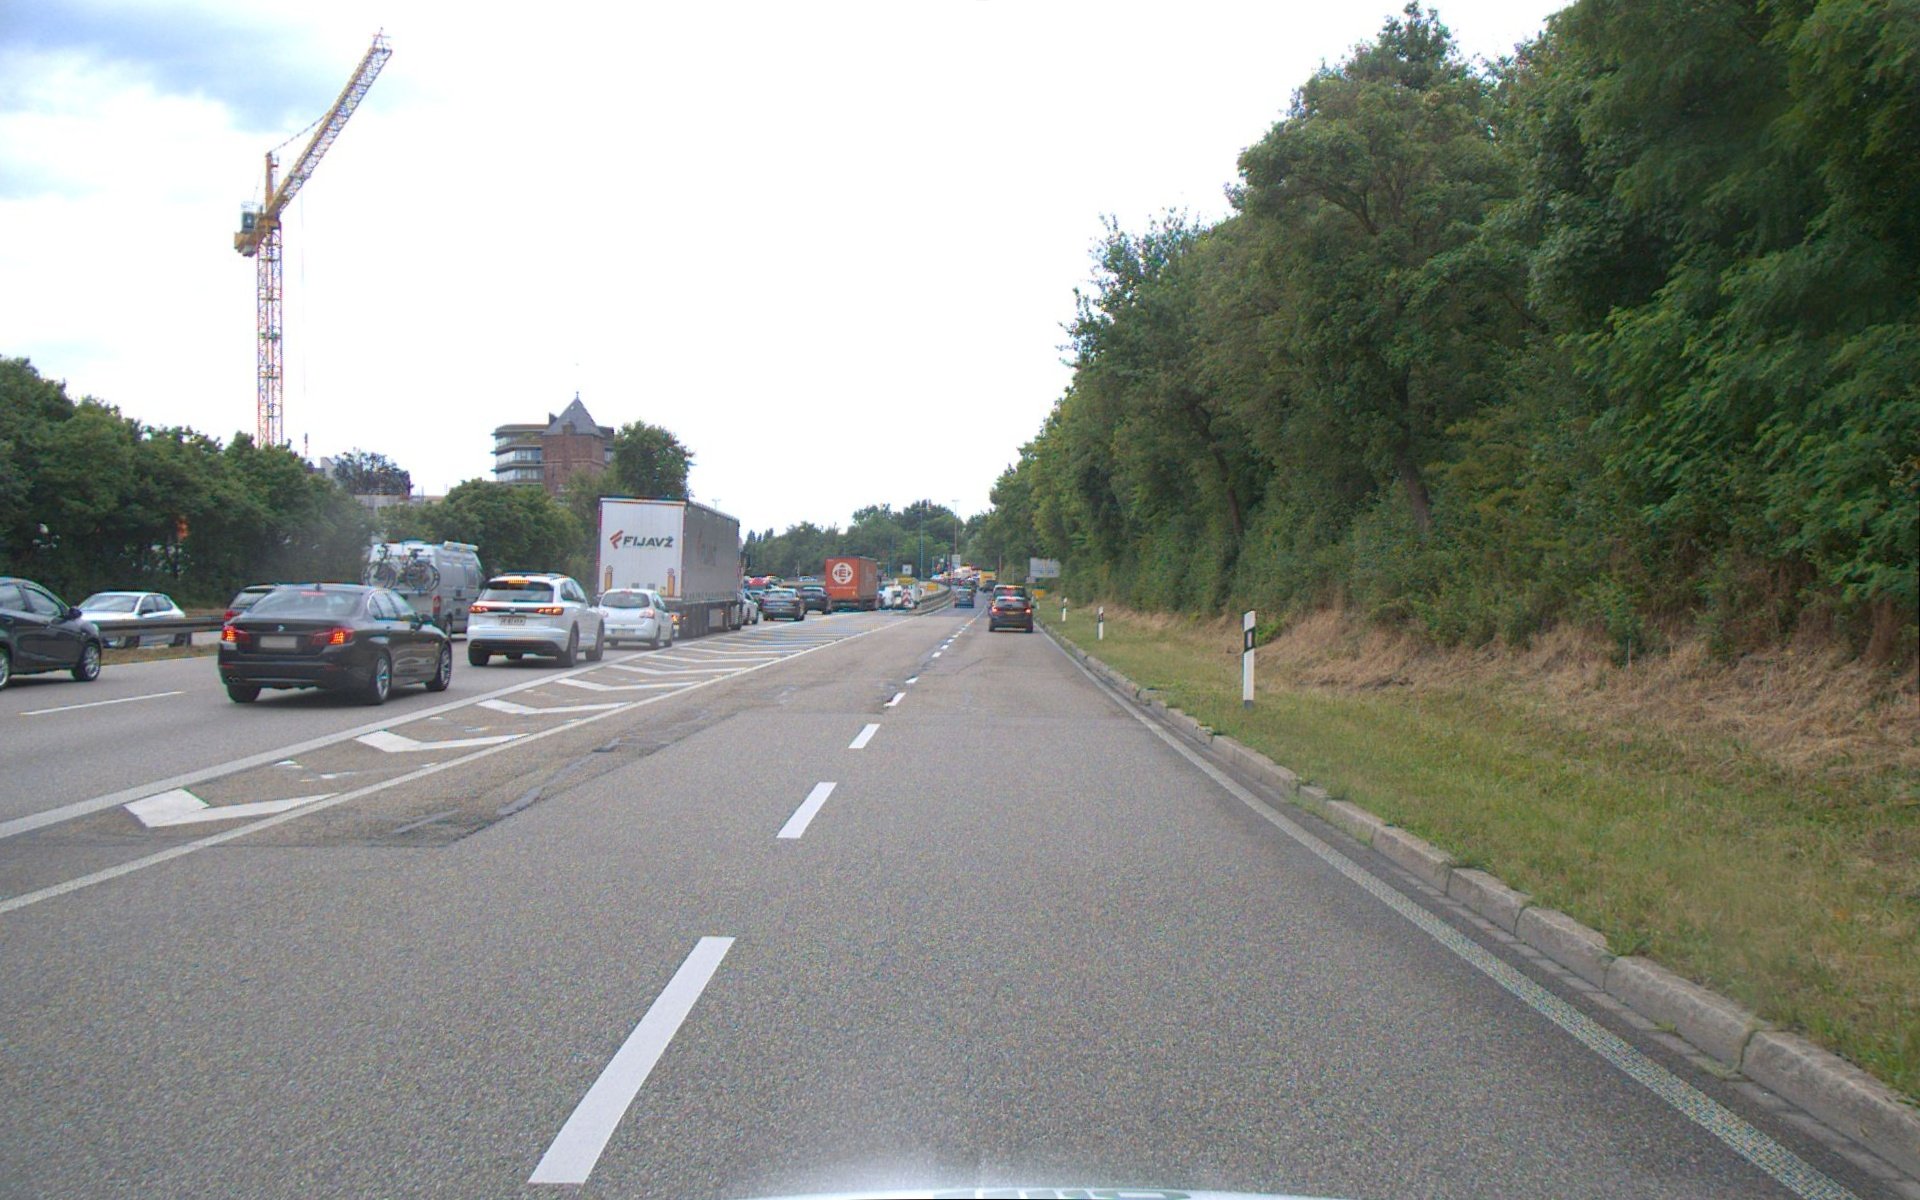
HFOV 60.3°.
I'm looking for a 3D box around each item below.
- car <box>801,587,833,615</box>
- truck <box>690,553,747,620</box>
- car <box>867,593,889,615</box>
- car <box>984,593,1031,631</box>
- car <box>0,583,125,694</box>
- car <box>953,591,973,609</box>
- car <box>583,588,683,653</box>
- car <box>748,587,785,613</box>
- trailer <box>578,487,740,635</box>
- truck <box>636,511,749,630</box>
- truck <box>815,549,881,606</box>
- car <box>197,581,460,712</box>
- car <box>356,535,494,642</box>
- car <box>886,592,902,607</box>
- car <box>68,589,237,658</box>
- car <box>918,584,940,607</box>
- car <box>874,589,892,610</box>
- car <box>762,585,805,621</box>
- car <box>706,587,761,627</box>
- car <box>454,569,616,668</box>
[{"bbox_3d":[-9.202,0.066,106.392,1.682,1.713,3.999,1,0,0],"label":"car"},{"bbox_3d":[-16.067,-0.816,110.619,2.684,4.211,10.690,1,0,-3],"label":"truck"},{"bbox_3d":[-7.534,0.403,151.843,1.581,1.982,3.706,1,-1,3],"label":"car"},{"bbox_3d":[1.929,0.456,67.642,1.788,1.508,4.000,0,0,0],"label":"car"},{"bbox_3d":[-13.157,0.473,22.665,1.642,1.413,3.996,0,0,-5],"label":"car"},{"bbox_3d":[0.245,-0.015,146.675,1.788,1.508,4.000,0,0,0],"label":"car"},{"bbox_3d":[-8.197,0.493,41.752,1.729,1.504,4.088,2,0,-1],"label":"car"},{"bbox_3d":[-12.576,0.032,107.700,1.821,1.646,4.000,1,0,0],"label":"car"},{"bbox_3d":[-9.373,-1.046,53.333,3.232,4.107,13.091,1,0,-2],"label":"trailer"},{"bbox_3d":[-9.617,-0.980,60.196,3.135,4.016,7.070,1,-1,-2],"label":"truck"},{"bbox_3d":[-8.478,-1.656,127.255,3.417,4.144,13.597,0,0,3],"label":"truck"},{"bbox_3d":[-8.124,0.562,21.788,1.810,1.485,4.827,1,0,-3],"label":"car"},{"bbox_3d":[-13.800,-0.284,42.978,1.953,2.598,5.360,0,0,-2],"label":"car"},{"bbox_3d":[-7.092,-0.050,177.402,1.742,1.508,3.998,0,0,-3],"label":"car"},{"bbox_3d":[-20.138,0.566,41.498,1.953,1.579,4.712,1,0,-1],"label":"car"},{"bbox_3d":[-2.729,-0.388,146.316,1.911,2.049,3.999,0,0,-1],"label":"car"},{"bbox_3d":[-7.553,-0.011,162.349,1.581,1.982,3.705,1,-1,1],"label":"car"},{"bbox_3d":[-8.749,0.144,82.220,1.682,1.713,3.999,1,0,0],"label":"car"},{"bbox_3d":[-9.863,0.319,72.251,1.763,1.632,4.257,1,0,0],"label":"car"},{"bbox_3d":[-8.224,0.354,32.475,1.917,1.724,4.864,2,0,-1],"label":"car"}]
